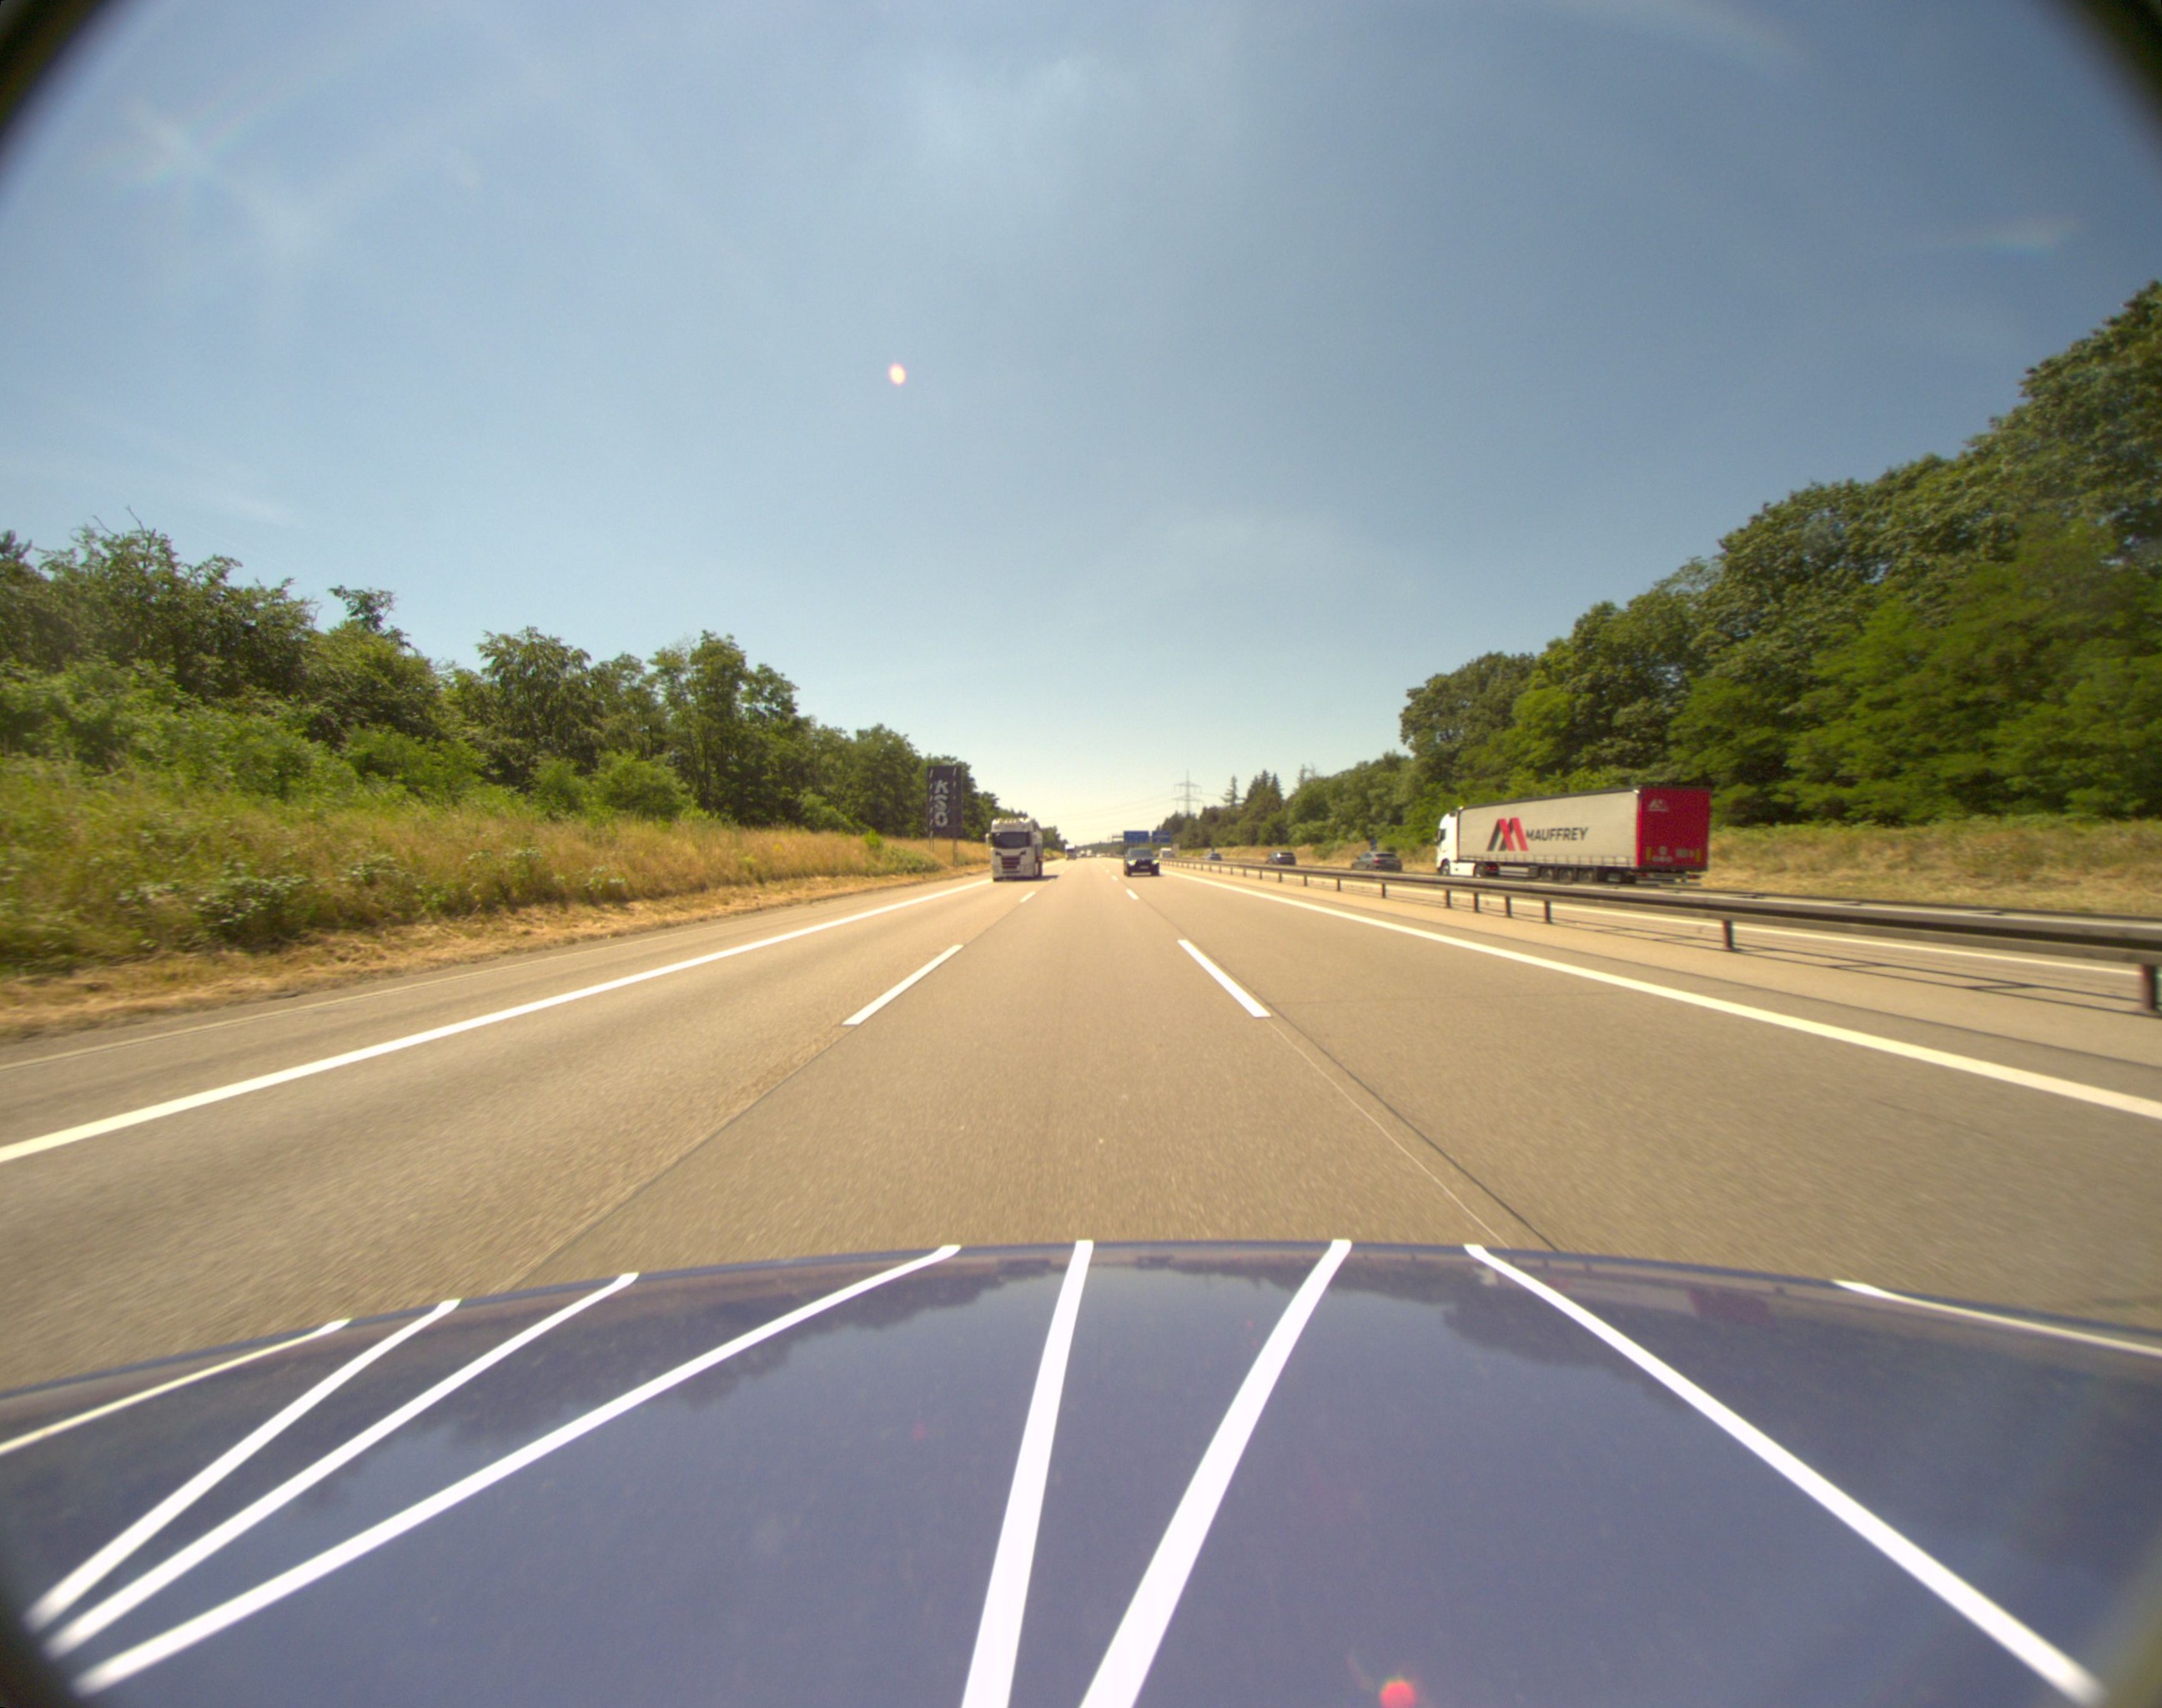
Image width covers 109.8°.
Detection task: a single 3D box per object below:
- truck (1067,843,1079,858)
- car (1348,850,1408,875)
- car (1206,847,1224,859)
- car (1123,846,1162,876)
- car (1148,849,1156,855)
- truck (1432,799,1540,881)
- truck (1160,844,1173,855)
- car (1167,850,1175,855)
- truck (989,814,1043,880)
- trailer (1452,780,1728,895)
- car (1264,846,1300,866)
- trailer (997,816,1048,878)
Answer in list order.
[{"bbox_3d":[-2.039,-0.952,197.523,2.593,3.534,8.648,-2,0,1],"label":"truck"},{"bbox_3d":[17.991,0.478,46.257,1.893,1.426,4.582,2,1,1],"label":"car"},{"bbox_3d":[17.761,-0.149,100.860,1.776,1.513,3.908,2,1,0],"label":"car"},{"bbox_3d":[3.849,0.395,48.171,1.945,1.742,5.812,-2,0,0],"label":"car"},{"bbox_3d":[20.233,-0.527,216.315,1.776,1.513,3.908,2,1,0],"label":"car"},{"bbox_3d":[21.992,-0.716,41.634,2.819,4.095,5.674,2,1,1],"label":"truck"},{"bbox_3d":[21.454,-1.170,190.766,2.657,2.657,6.366,2,1,0],"label":"truck"},{"bbox_3d":[24.628,-0.391,207.599,1.776,1.513,3.908,2,1,0],"label":"car"},{"bbox_3d":[-3.941,-0.426,47.389,2.605,3.812,5.969,-2,1,1],"label":"truck"},{"bbox_3d":[21.946,-0.656,34.748,2.819,4.095,14.546,2,1,0],"label":"trailer"},{"bbox_3d":[17.809,0.190,67.569,1.894,1.671,4.721,2,1,0],"label":"car"},{"bbox_3d":[-3.873,-0.448,52.379,2.605,3.812,8.698,-2,0,1],"label":"trailer"}]
